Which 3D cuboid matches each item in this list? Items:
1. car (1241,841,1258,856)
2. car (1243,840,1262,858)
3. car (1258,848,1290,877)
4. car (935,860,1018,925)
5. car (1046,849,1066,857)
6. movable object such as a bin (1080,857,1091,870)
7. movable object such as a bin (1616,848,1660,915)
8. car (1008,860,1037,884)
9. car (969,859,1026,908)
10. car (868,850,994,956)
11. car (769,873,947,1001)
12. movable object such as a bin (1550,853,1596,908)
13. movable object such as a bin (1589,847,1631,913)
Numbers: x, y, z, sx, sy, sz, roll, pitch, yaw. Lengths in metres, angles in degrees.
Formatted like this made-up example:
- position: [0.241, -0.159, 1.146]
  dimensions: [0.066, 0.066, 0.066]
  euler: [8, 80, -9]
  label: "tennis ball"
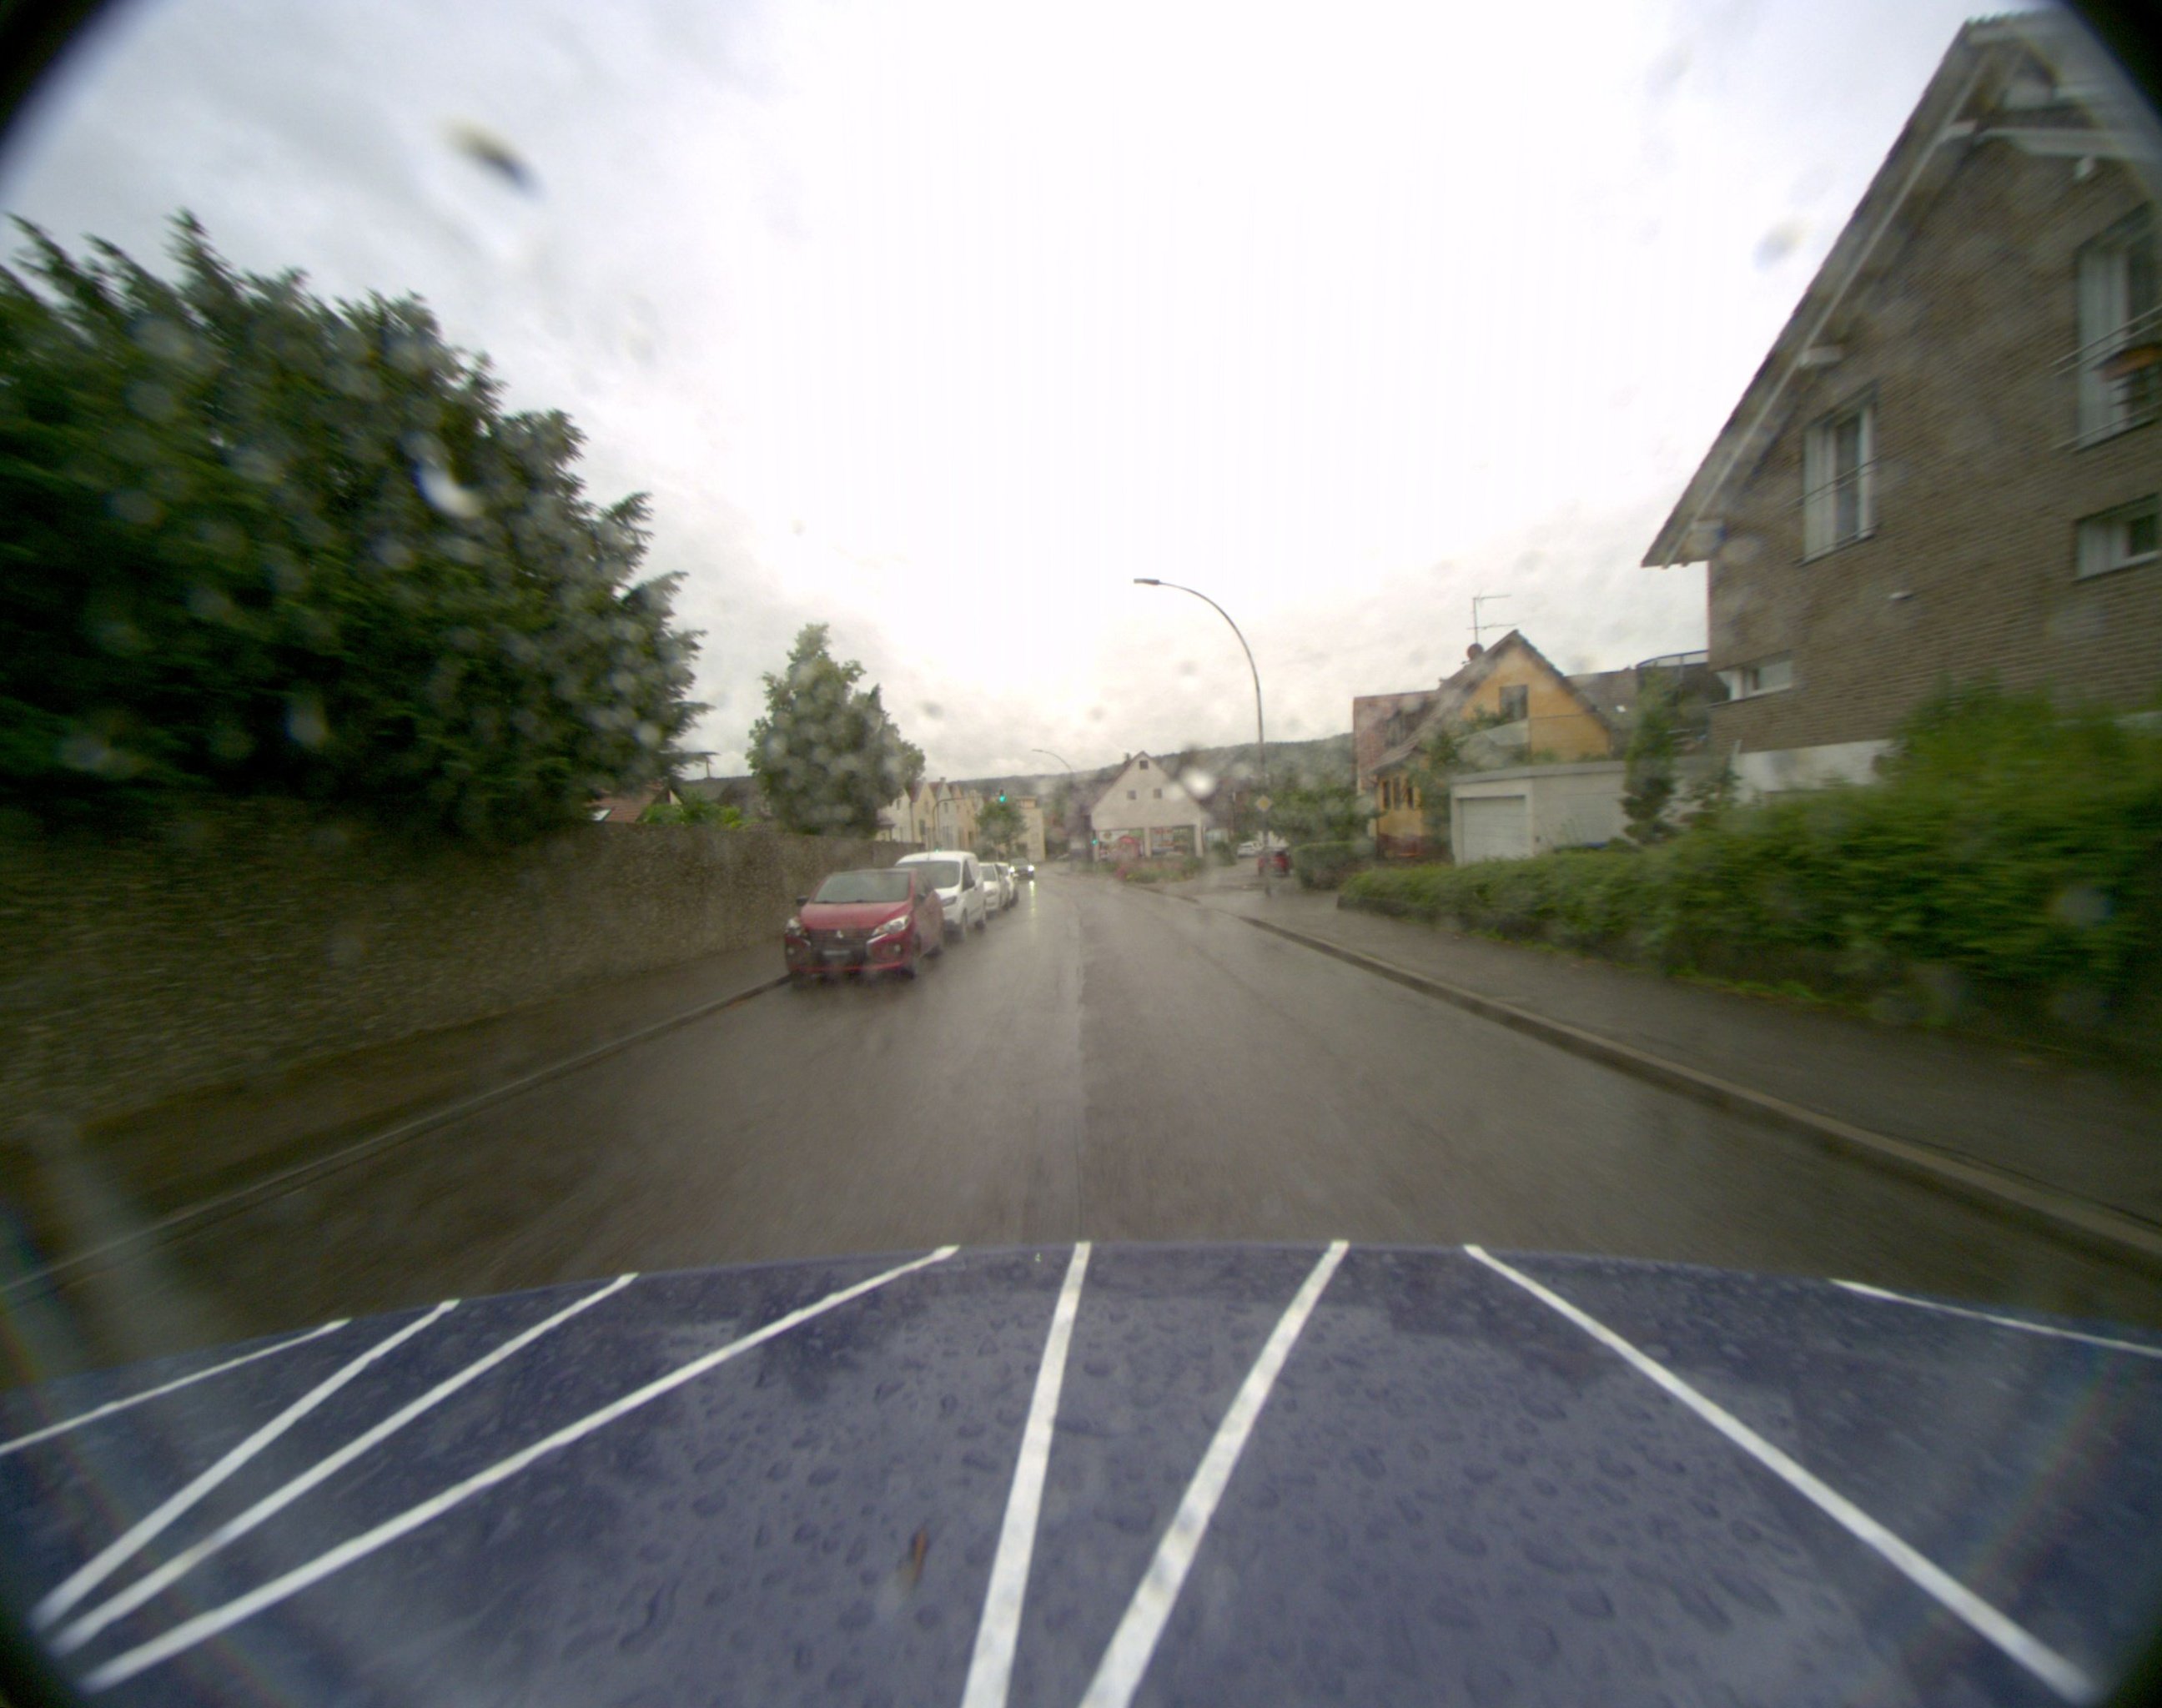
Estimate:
- position: [17.156, -0.597, 77.234]
  dimensions: [1.415, 1.420, 3.495]
  euler: [-2, 2, 16]
  label: "car"
- position: [18.756, -0.510, 82.861]
  dimensions: [1.755, 1.878, 3.744]
  euler: [-2, 0, 17]
  label: "car"
- position: [11.582, 0.484, 45.423]
  dimensions: [1.751, 1.553, 4.023]
  euler: [-2, 0, 15]
  label: "car"
- position: [-2.853, 1.009, 21.568]
  dimensions: [1.650, 1.454, 3.999]
  euler: [-3, 1, 1]
  label: "car"
- position: [-5.219, -0.202, 158.834]
  dimensions: [1.875, 1.368, 4.007]
  euler: [-2, 1, 43]
  label: "car"
- position: [0.435, 0.871, 71.033]
  dimensions: [0.899, 1.072, 0.651]
  euler: [-4, 2, 0]
  label: "movable object such as a bin"
- position: [11.172, 0.541, 15.253]
  dimensions: [0.497, 1.295, 0.556]
  euler: [-2, 1, 12]
  label: "movable object such as a bin"
- position: [-4.299, 1.304, 56.539]
  dimensions: [1.999, 1.521, 3.998]
  euler: [-3, 1, -3]
  label: "car"
- position: [-2.870, 0.972, 26.832]
  dimensions: [1.616, 1.472, 4.037]
  euler: [-3, 0, -2]
  label: "car"
- position: [-2.926, 0.875, 15.710]
  dimensions: [1.641, 1.731, 4.134]
  euler: [-3, 2, 1]
  label: "car"
- position: [-3.013, 1.049, 11.021]
  dimensions: [1.588, 1.446, 3.663]
  euler: [-1, 0, -2]
  label: "car"
- position: [9.991, 0.532, 15.448]
  dimensions: [0.561, 1.068, 0.713]
  euler: [-2, 1, 12]
  label: "movable object such as a bin"
- position: [10.682, 0.508, 15.349]
  dimensions: [0.497, 1.295, 0.556]
  euler: [-2, 1, 12]
  label: "movable object such as a bin"
